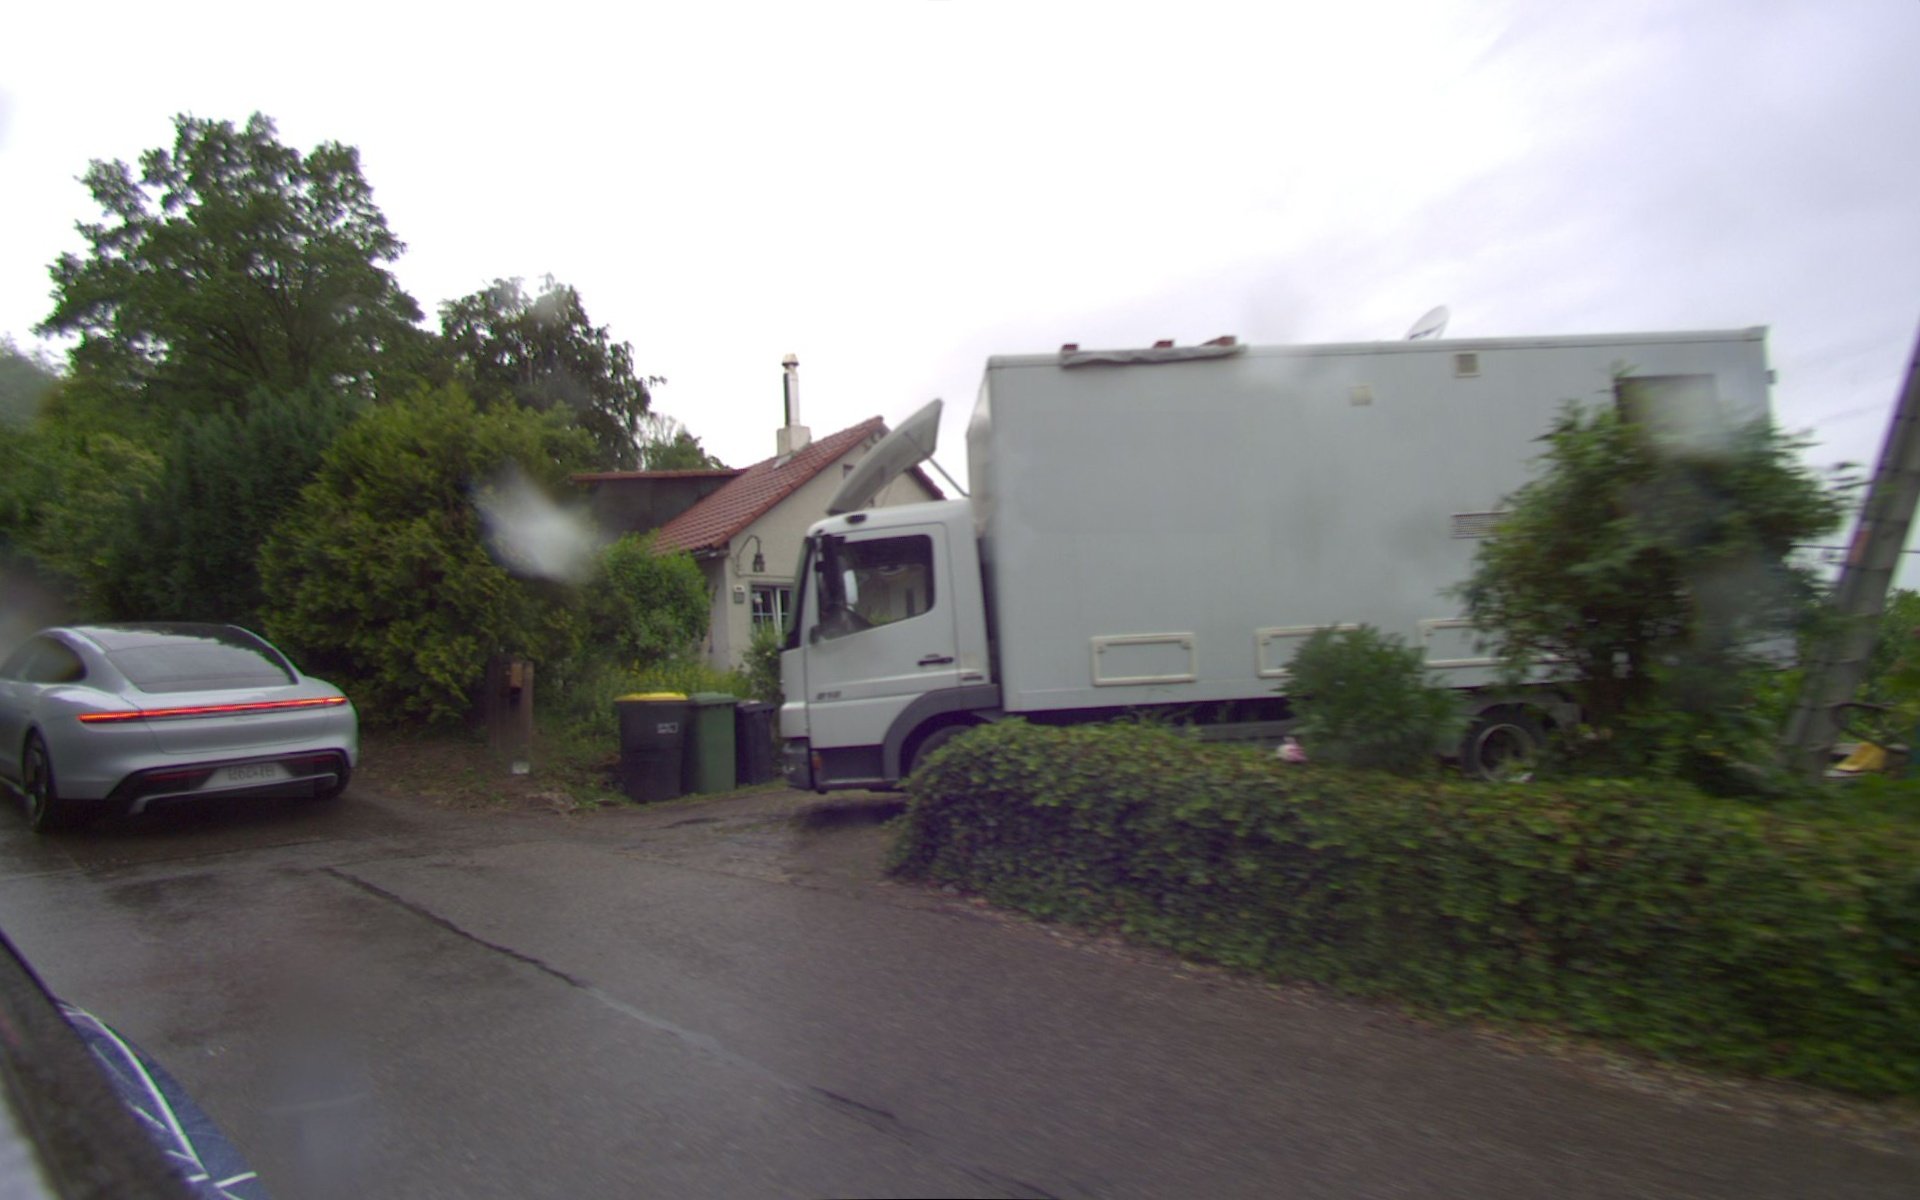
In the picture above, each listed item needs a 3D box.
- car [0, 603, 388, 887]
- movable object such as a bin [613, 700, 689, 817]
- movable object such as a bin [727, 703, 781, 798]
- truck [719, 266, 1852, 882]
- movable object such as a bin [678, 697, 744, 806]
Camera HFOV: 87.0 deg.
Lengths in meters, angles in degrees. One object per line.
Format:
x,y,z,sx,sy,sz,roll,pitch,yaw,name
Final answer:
-6.818,0.917,8.393,4.572,1.533,1.923,3,1,37,car
-3.059,1.547,10.008,0.533,1.075,0.548,1,-5,-41,movable object such as a bin
-2.196,1.590,10.801,0.466,0.956,0.284,1,-5,-41,movable object such as a bin
2.370,-0.248,8.599,8.014,3.838,2.676,-4,1,-2,truck
-2.570,1.544,10.427,0.533,1.054,0.361,1,-5,-41,movable object such as a bin
